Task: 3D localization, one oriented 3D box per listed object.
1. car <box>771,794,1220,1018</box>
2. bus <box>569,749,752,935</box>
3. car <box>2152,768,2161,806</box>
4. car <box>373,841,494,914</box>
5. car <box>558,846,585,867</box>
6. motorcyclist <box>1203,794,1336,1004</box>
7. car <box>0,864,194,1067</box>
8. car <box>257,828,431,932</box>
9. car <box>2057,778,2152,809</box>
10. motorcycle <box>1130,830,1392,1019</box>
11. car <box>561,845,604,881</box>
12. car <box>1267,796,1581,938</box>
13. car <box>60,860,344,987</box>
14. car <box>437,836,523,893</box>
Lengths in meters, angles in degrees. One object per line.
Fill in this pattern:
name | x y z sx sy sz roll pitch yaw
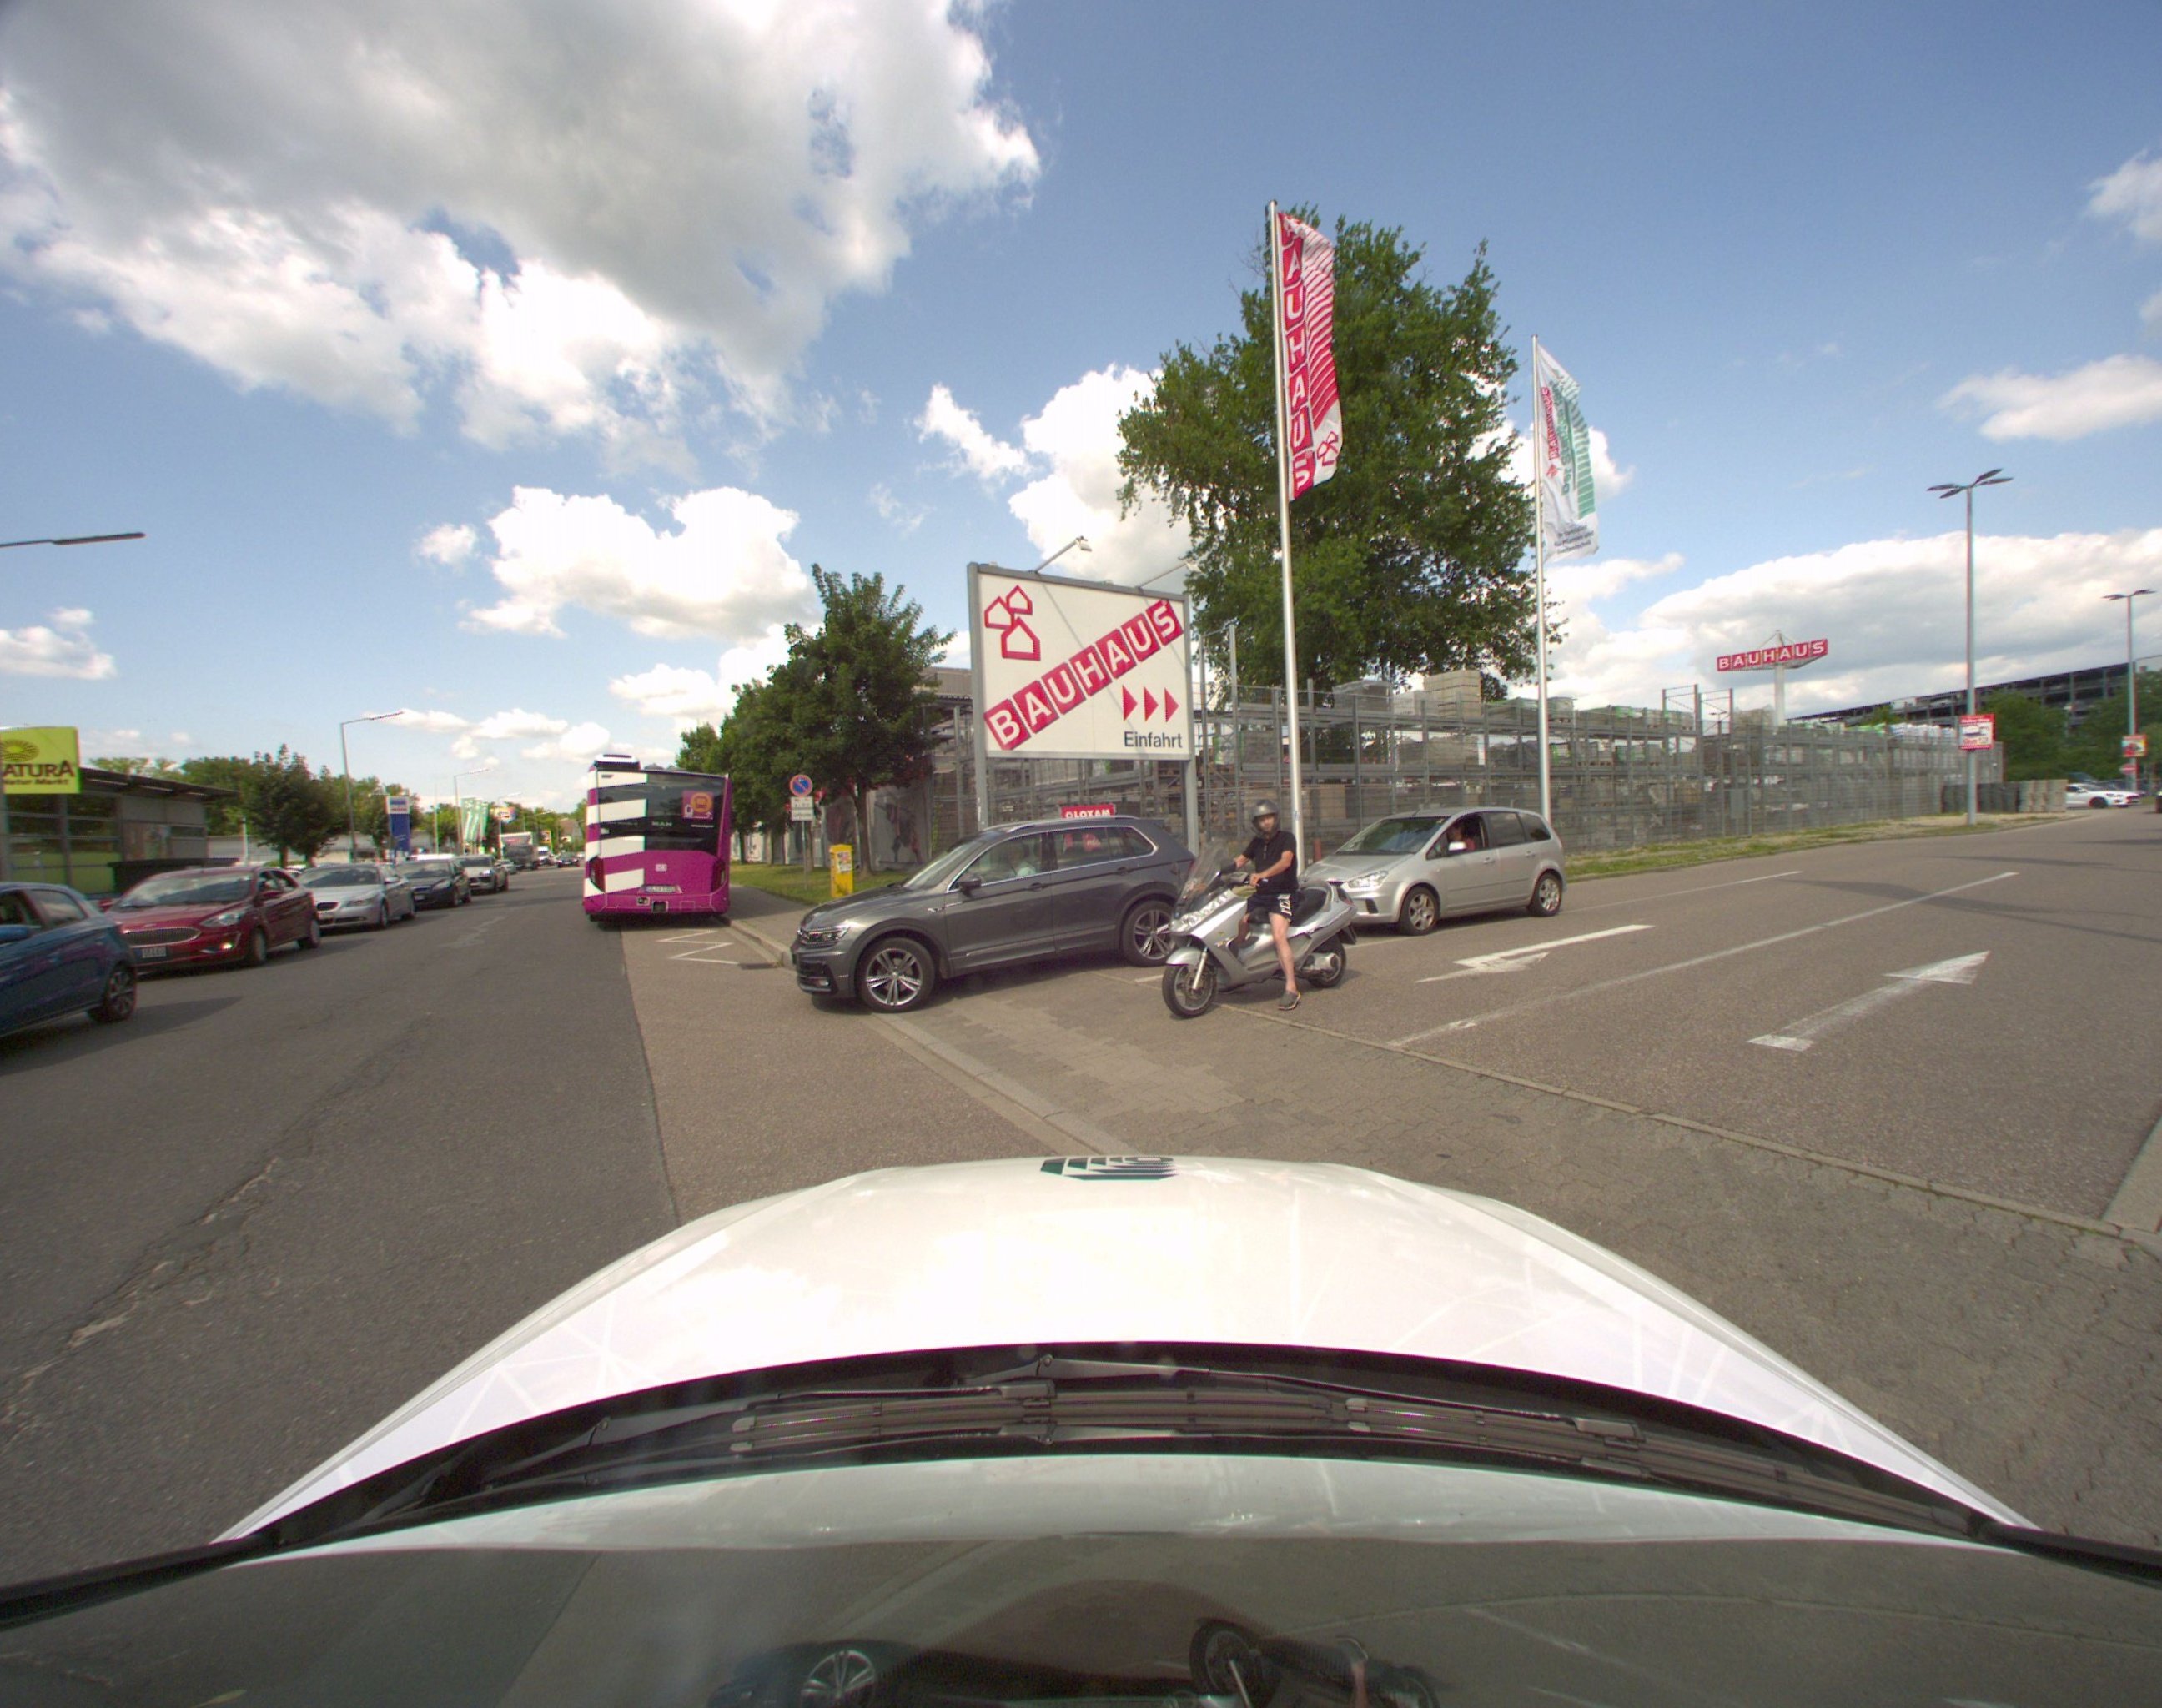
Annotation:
car | -0.894 0.388 8.778 4.392 1.665 1.756 -6 3 -23
bus | -10.727 -0.306 20.413 2.902 3.363 11.458 -4 2 -30
car | 47.767 -2.984 34.810 4.388 1.618 1.903 -5 2 -30
car | -19.686 0.642 25.009 2.006 1.913 4.744 -4 2 -28
car | -51.951 0.206 83.054 2.006 2.013 3.963 -4 2 -29
motorcyclist | 1.582 0.341 6.887 0.688 1.628 0.782 -4 2 -28
car | -9.689 0.925 6.898 1.703 1.513 4.155 -4 2 -30
car | -16.238 0.522 18.229 1.930 2.014 4.417 0 -1 -29
car | 56.440 -3.332 44.966 1.529 1.514 2.884 -3 2 -11
motorcycle | 1.560 0.510 6.868 2.219 1.305 0.666 -4 2 -28
car | -25.076 0.463 41.066 1.688 1.729 3.962 0 -1 -30
car | 4.821 0.083 11.333 4.220 1.564 1.708 -4 2 -27
car | -13.444 0.917 12.822 1.797 1.509 4.153 -4 2 -30
car | -23.942 0.370 32.613 2.006 2.013 4.744 -4 2 -28
